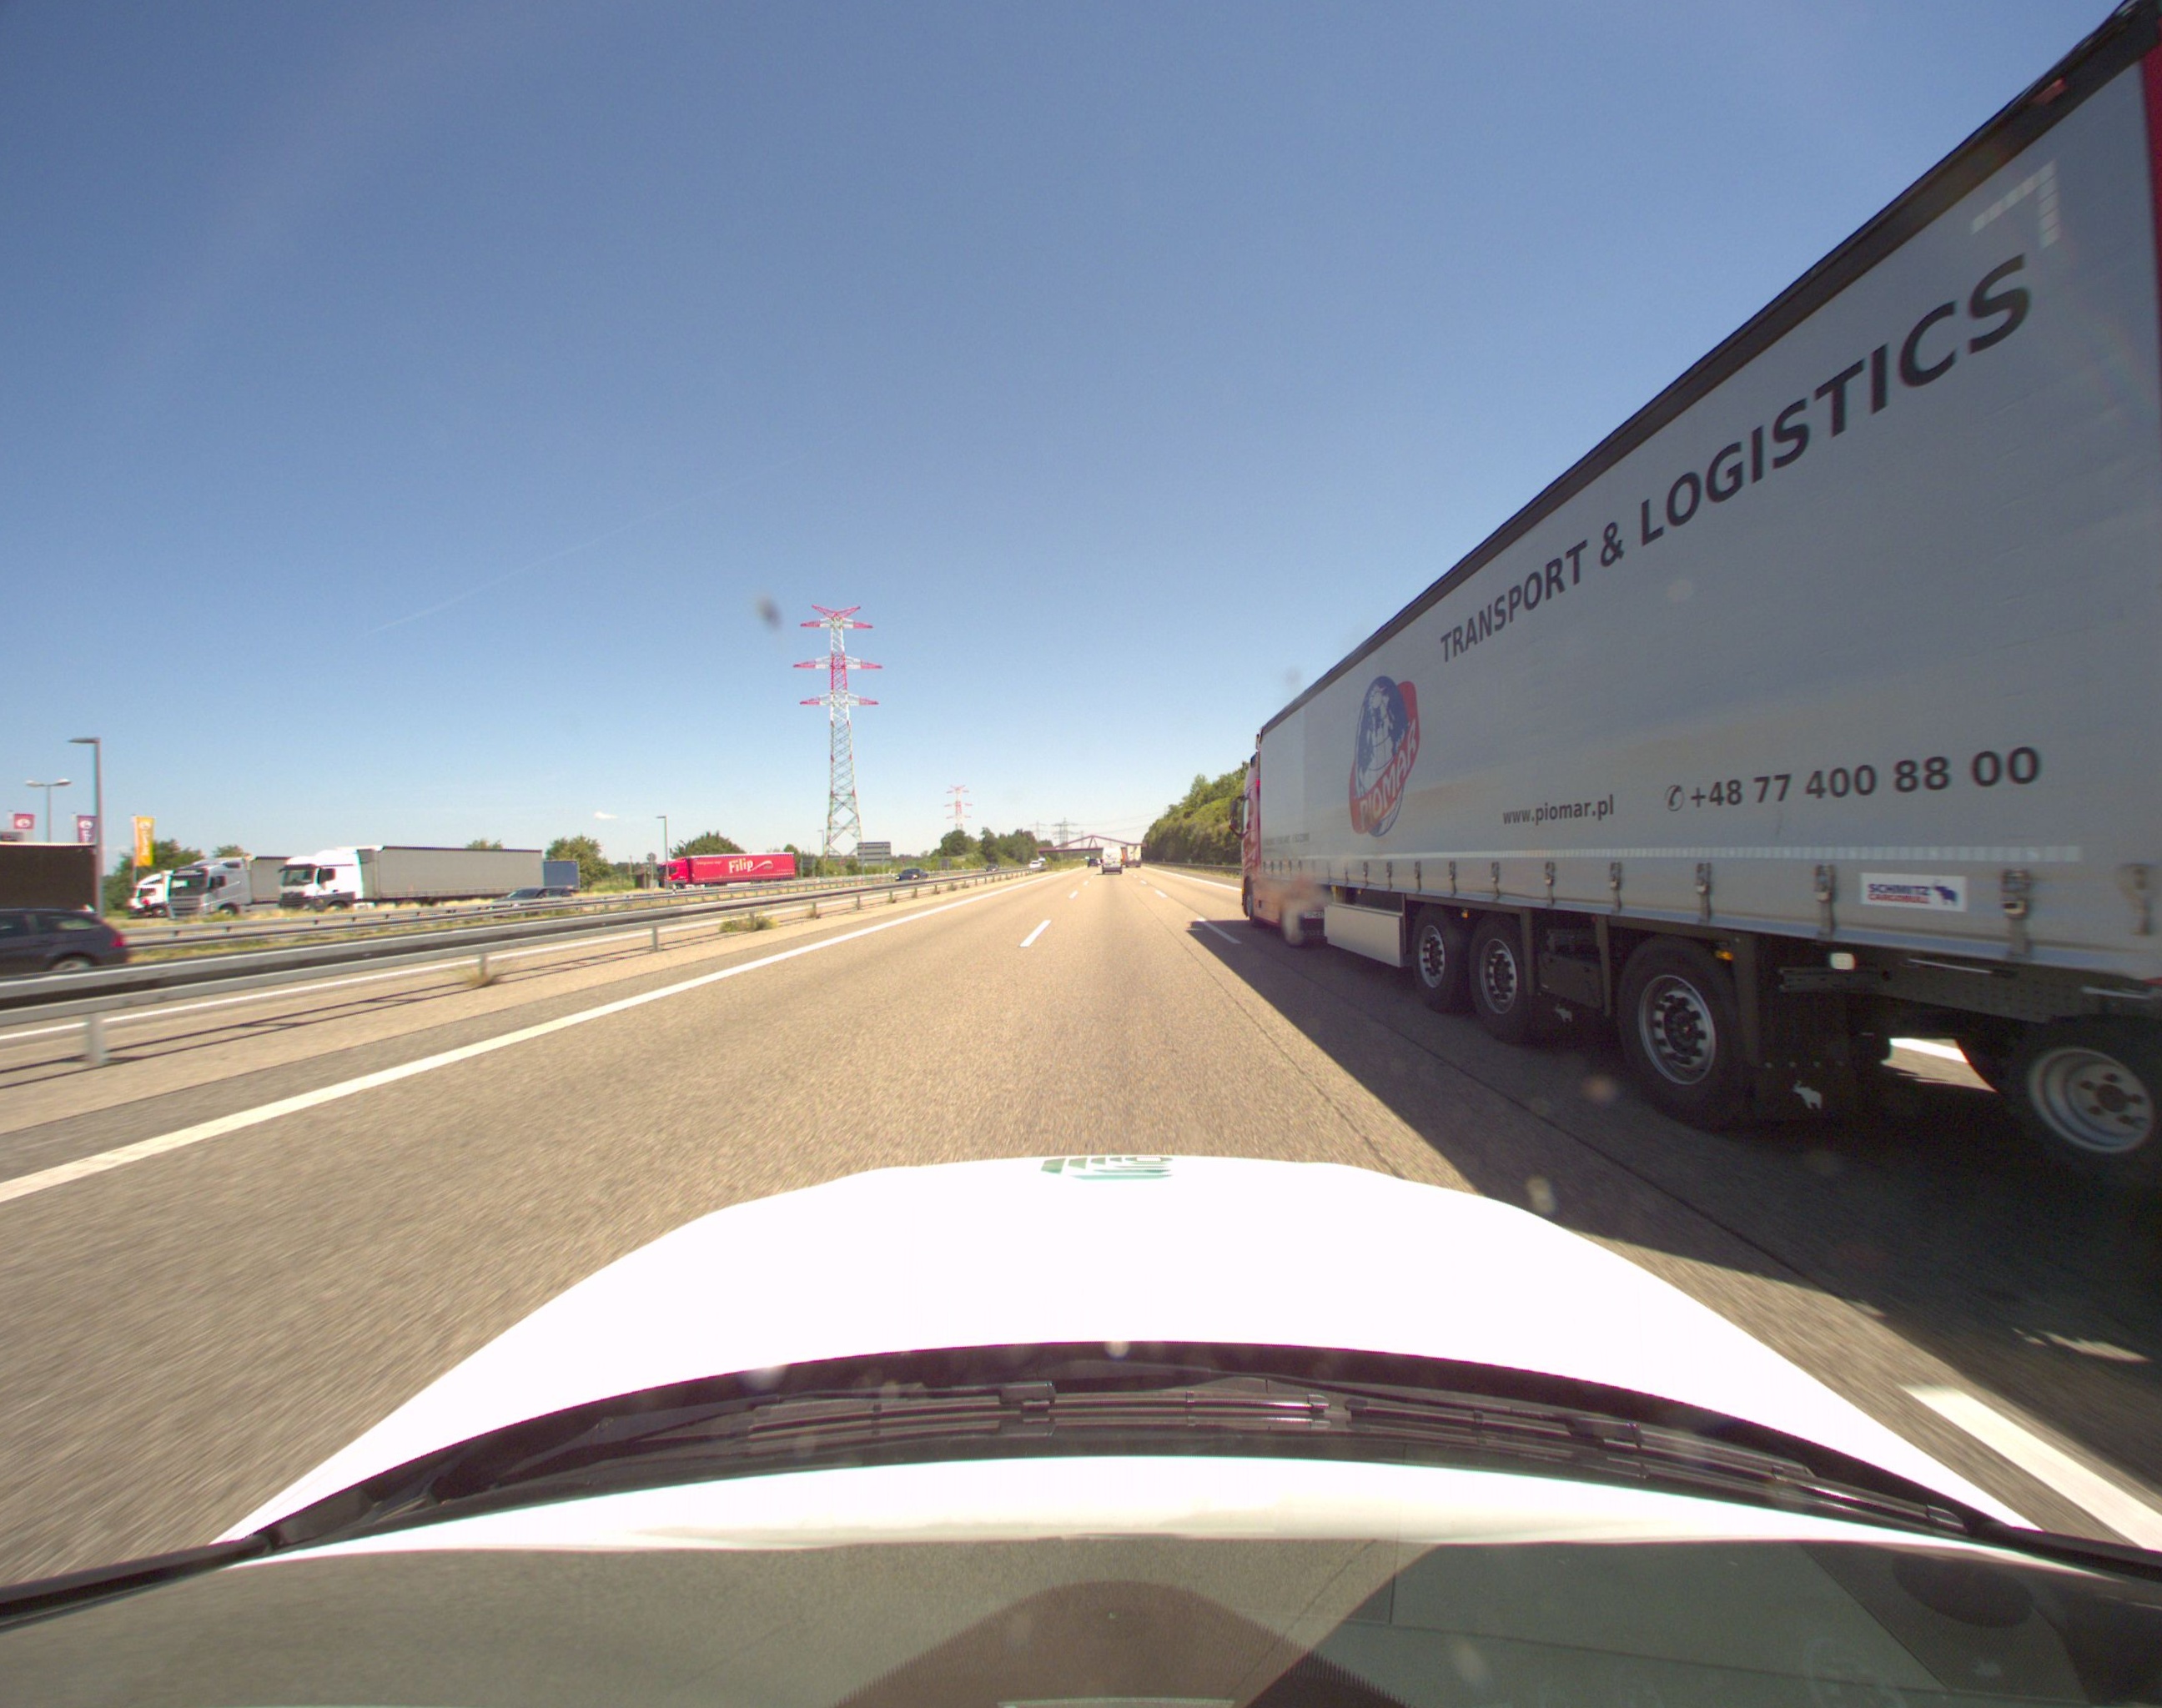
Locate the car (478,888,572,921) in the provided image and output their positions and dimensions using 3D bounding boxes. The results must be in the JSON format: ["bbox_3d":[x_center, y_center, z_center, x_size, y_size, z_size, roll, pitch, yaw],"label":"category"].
[{"bbox_3d":[-29.326,2.611,43.143,1.806,1.489,4.510,0,0,1],"label":"car"}]

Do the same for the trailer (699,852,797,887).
[{"bbox_3d":[-41.029,1.855,100.961,3.090,4.055,11.385,0,0,36],"label":"trailer"}]

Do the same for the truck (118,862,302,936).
[{"bbox_3d":[-55.485,2.692,52.276,3.287,4.357,7.632,0,0,3],"label":"truck"}]

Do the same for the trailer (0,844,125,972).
[{"bbox_3d":[-42.408,2.046,30.069,3.020,4.850,9.142,0,0,3],"label":"trailer"}]

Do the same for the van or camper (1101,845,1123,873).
[{"bbox_3d":[3.160,0.501,83.461,2.222,2.782,5.425,0,0,2],"label":"van or camper"}]

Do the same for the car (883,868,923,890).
[{"bbox_3d":[-13.912,1.935,63.861,1.965,1.647,5.018,0,0,1],"label":"car"}]

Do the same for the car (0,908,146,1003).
[{"bbox_3d":[-16.754,1.611,11.595,1.735,1.276,4.320,-5,0,2],"label":"car"}]

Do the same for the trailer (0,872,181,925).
[{"bbox_3d":[-74.613,3.174,59.749,2.964,3.521,11.133,0,0,31],"label":"trailer"}]

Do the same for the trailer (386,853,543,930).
[{"bbox_3d":[-42.415,2.427,56.628,3.289,4.875,9.686,0,0,2],"label":"trailer"}]

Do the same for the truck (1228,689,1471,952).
[{"bbox_3d":[4.684,-0.493,15.840,2.490,3.920,7.099,-1,0,1],"label":"truck"}]

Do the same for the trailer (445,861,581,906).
[{"bbox_3d":[-57.241,2.878,82.505,11.108,4.266,3.133,0,-1,-34],"label":"trailer"}]

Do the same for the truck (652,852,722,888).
[{"bbox_3d":[-45.654,1.833,94.536,3.087,4.049,6.688,0,-1,36],"label":"truck"}]

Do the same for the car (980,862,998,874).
[{"bbox_3d":[-13.027,1.971,115.879,1.862,1.398,4.548,-4,0,2],"label":"car"}]

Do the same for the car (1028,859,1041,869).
[{"bbox_3d":[-7.694,1.657,135.526,1.711,1.529,4.668,-4,0,2],"label":"car"}]

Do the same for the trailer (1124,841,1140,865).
[{"bbox_3d":[9.095,-0.101,145.230,2.627,4.060,12.374,0,0,3],"label":"trailer"}]

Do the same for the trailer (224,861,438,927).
[{"bbox_3d":[-54.961,2.733,60.576,3.287,4.357,12.933,0,0,3],"label":"trailer"}]

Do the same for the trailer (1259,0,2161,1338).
[{"bbox_3d":[4.444,-0.566,8.162,2.481,3.909,14.249,-1,0,1],"label":"trailer"}]

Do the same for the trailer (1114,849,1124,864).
[{"bbox_3d":[9.814,0.583,209.914,2.627,3.897,7.073,0,0,3],"label":"trailer"}]

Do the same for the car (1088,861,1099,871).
[{"bbox_3d":[2.409,2.344,157.493,1.974,1.817,3.816,0,0,4],"label":"car"}]

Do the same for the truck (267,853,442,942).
[{"bbox_3d":[-42.716,2.398,48.335,3.289,4.850,7.628,0,0,2],"label":"truck"}]
